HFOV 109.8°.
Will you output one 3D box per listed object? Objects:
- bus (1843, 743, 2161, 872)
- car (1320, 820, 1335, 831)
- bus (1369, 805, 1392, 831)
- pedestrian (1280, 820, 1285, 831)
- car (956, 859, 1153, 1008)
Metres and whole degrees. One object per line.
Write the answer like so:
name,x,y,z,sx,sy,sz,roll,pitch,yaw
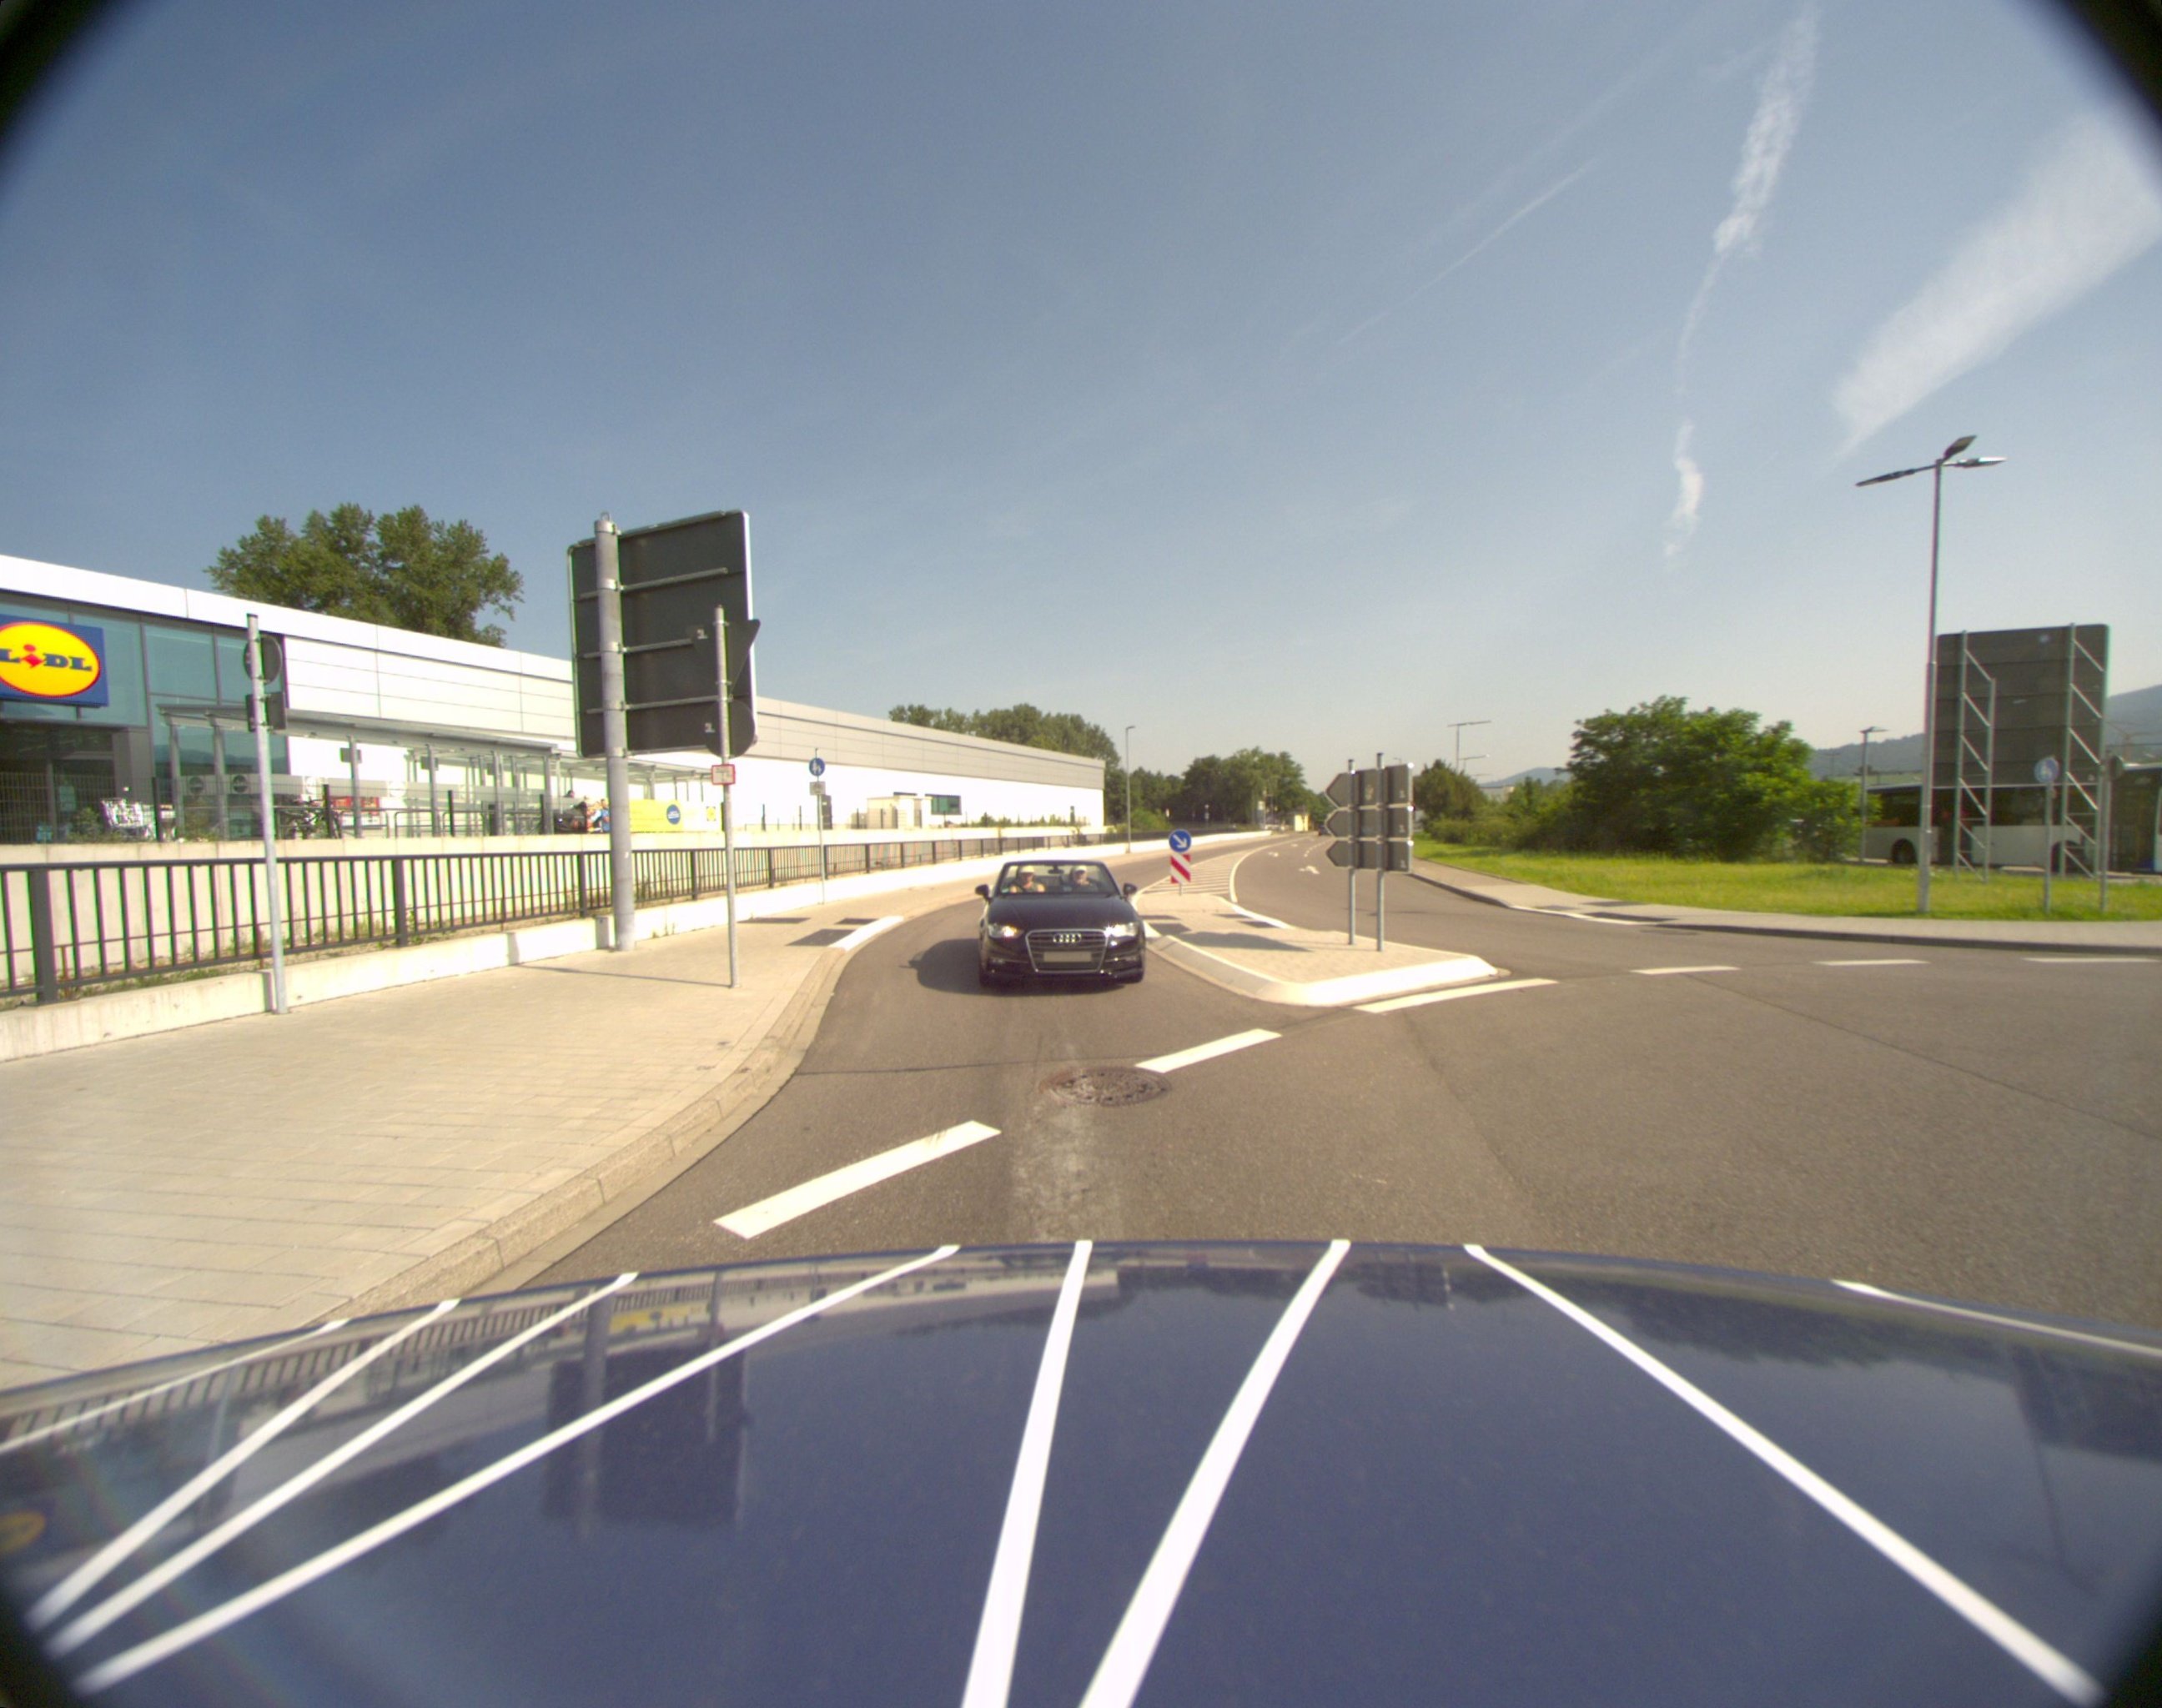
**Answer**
bus,29.206,-1.334,23.290,3.068,3.106,11.732,-1,2,17
car,35.265,-4.049,108.676,1.774,1.465,4.224,1,3,22
bus,39.872,-4.840,101.286,2.623,3.292,11.969,1,3,21
pedestrian,31.078,-4.376,117.389,0.711,1.662,0.593,0,4,15
car,-0.187,0.781,9.412,1.868,1.323,4.232,-1,1,2
